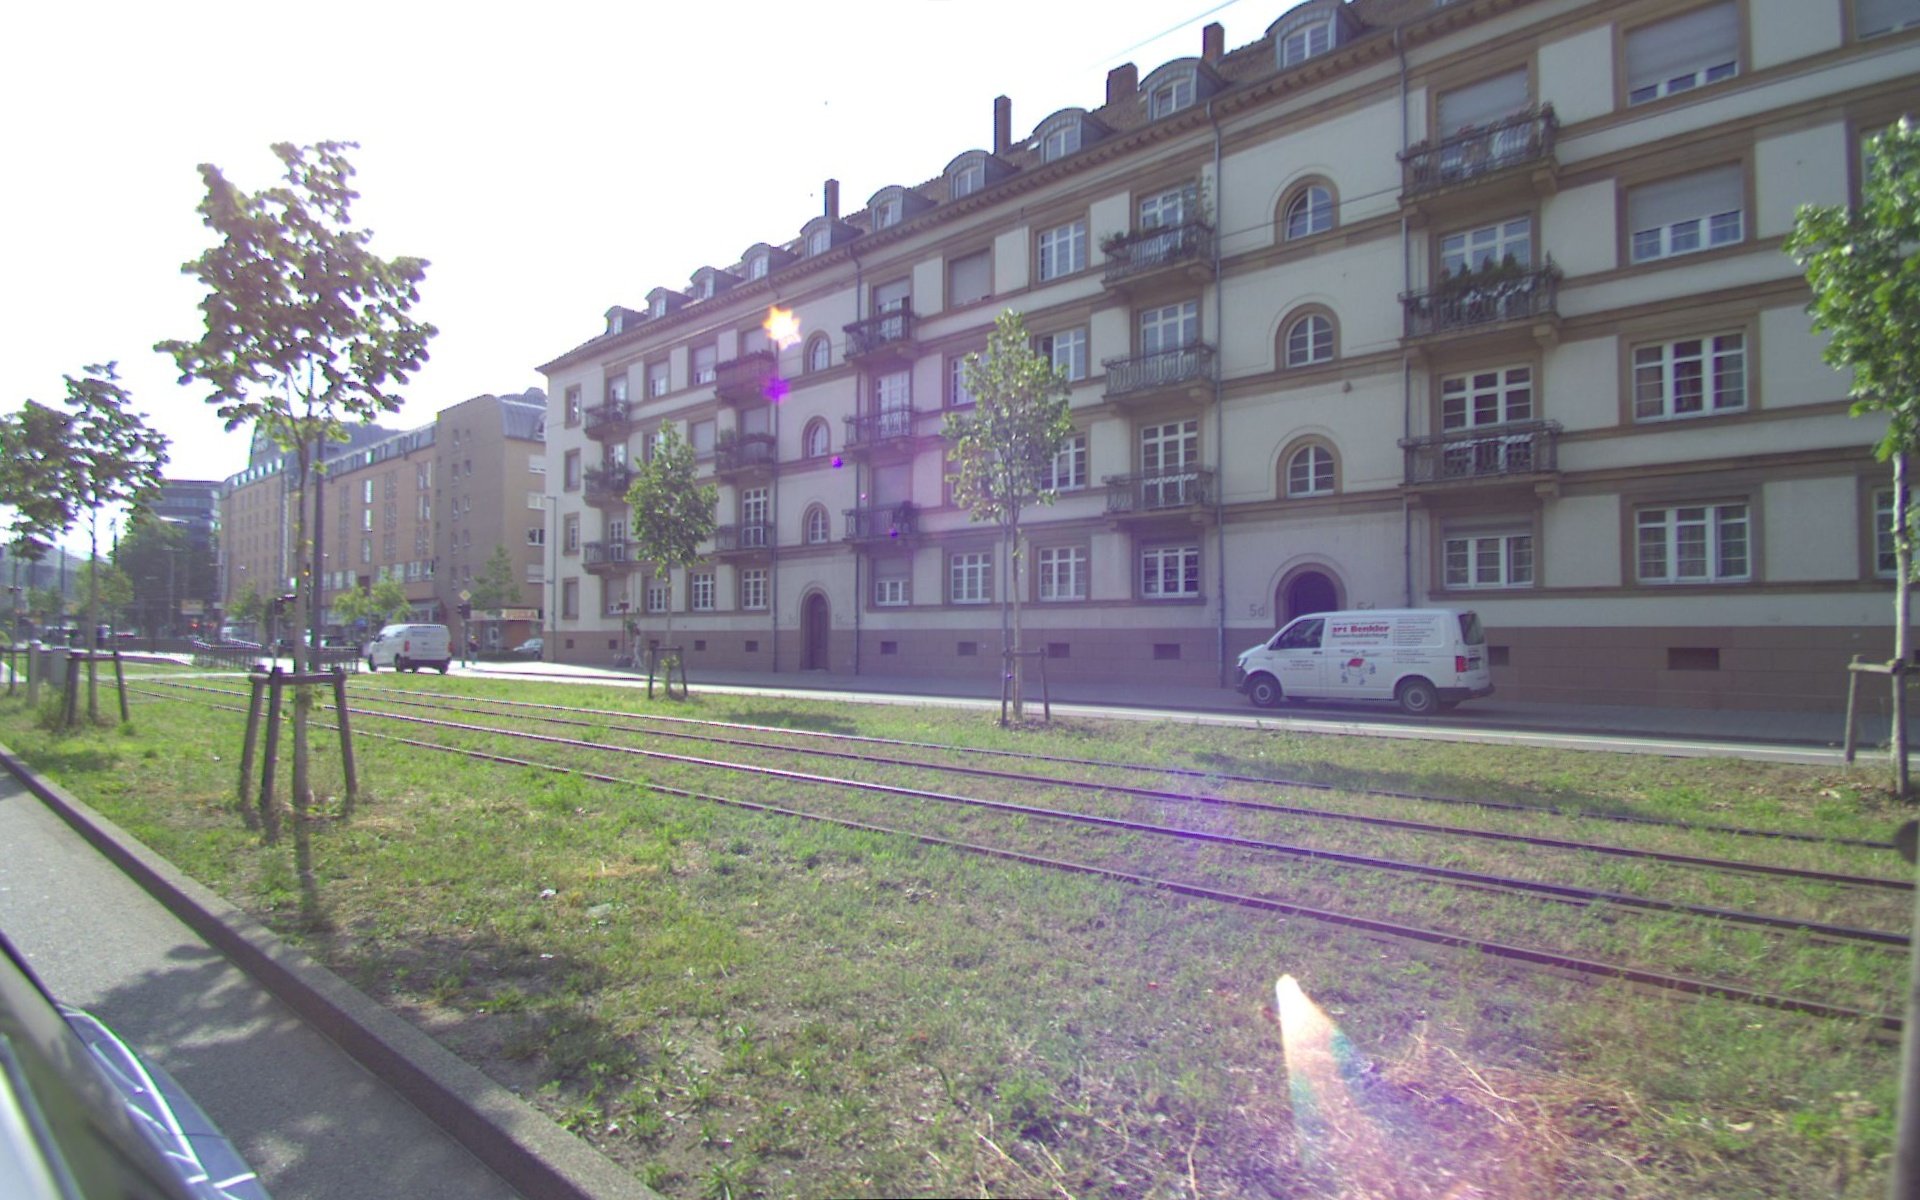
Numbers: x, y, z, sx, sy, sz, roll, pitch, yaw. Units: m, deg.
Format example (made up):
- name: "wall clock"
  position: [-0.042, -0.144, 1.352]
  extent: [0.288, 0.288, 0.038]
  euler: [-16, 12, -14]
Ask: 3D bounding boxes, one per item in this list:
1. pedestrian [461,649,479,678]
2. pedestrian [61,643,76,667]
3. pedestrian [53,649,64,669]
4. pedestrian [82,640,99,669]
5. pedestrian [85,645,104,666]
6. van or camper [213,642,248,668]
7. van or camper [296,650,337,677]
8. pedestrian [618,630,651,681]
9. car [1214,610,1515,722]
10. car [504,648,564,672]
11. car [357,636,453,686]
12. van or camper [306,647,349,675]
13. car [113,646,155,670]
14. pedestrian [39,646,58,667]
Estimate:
- name: "pedestrian"
  position: [-27.460, 3.575, 56.741]
  extent: [0.670, 1.595, 0.808]
  euler: [2, -4, -45]
- name: "pedestrian"
  position: [-70.790, 4.379, 80.340]
  extent: [0.554, 1.901, 0.796]
  euler: [-2, -3, 40]
- name: "pedestrian"
  position: [-81.550, 5.330, 91.528]
  extent: [0.698, 1.774, 0.644]
  euler: [-2, 0, 43]
- name: "pedestrian"
  position: [-58.485, 3.655, 68.072]
  extent: [0.940, 1.886, 0.730]
  euler: [-3, -4, 45]
- name: "pedestrian"
  position: [-64.094, 4.099, 74.972]
  extent: [0.803, 1.542, 0.675]
  euler: [-1, -3, 11]
- name: "van or camper"
  position: [-80.286, 6.008, 111.355]
  extent: [5.351, 2.823, 1.972]
  euler: [-2, -4, 42]
- name: "van or camper"
  position: [-50.051, 4.888, 78.702]
  extent: [1.970, 2.029, 4.003]
  euler: [2, -4, -43]
- name: "pedestrian"
  position: [-13.667, 2.317, 42.458]
  extent: [1.156, 2.084, 0.833]
  euler: [-3, -2, 43]
- name: "car"
  position: [7.890, 1.238, 20.128]
  extent: [5.152, 1.932, 1.972]
  euler: [-3, -2, 43]
- name: "car"
  position: [-29.096, 4.064, 69.030]
  extent: [4.548, 1.612, 1.746]
  euler: [-2, -3, 38]
- name: "car"
  position: [-22.740, 2.450, 41.382]
  extent: [5.047, 1.909, 1.971]
  euler: [-3, -4, 43]
- name: "van or camper"
  position: [-46.648, 4.478, 74.625]
  extent: [1.907, 1.983, 4.003]
  euler: [2, -3, -44]
- name: "car"
  position: [-70.770, 4.961, 86.702]
  extent: [4.929, 2.029, 1.973]
  euler: [-3, -4, 41]
- name: "pedestrian"
  position: [-78.281, 4.857, 86.942]
  extent: [0.825, 1.760, 0.784]
  euler: [1, -4, 5]
